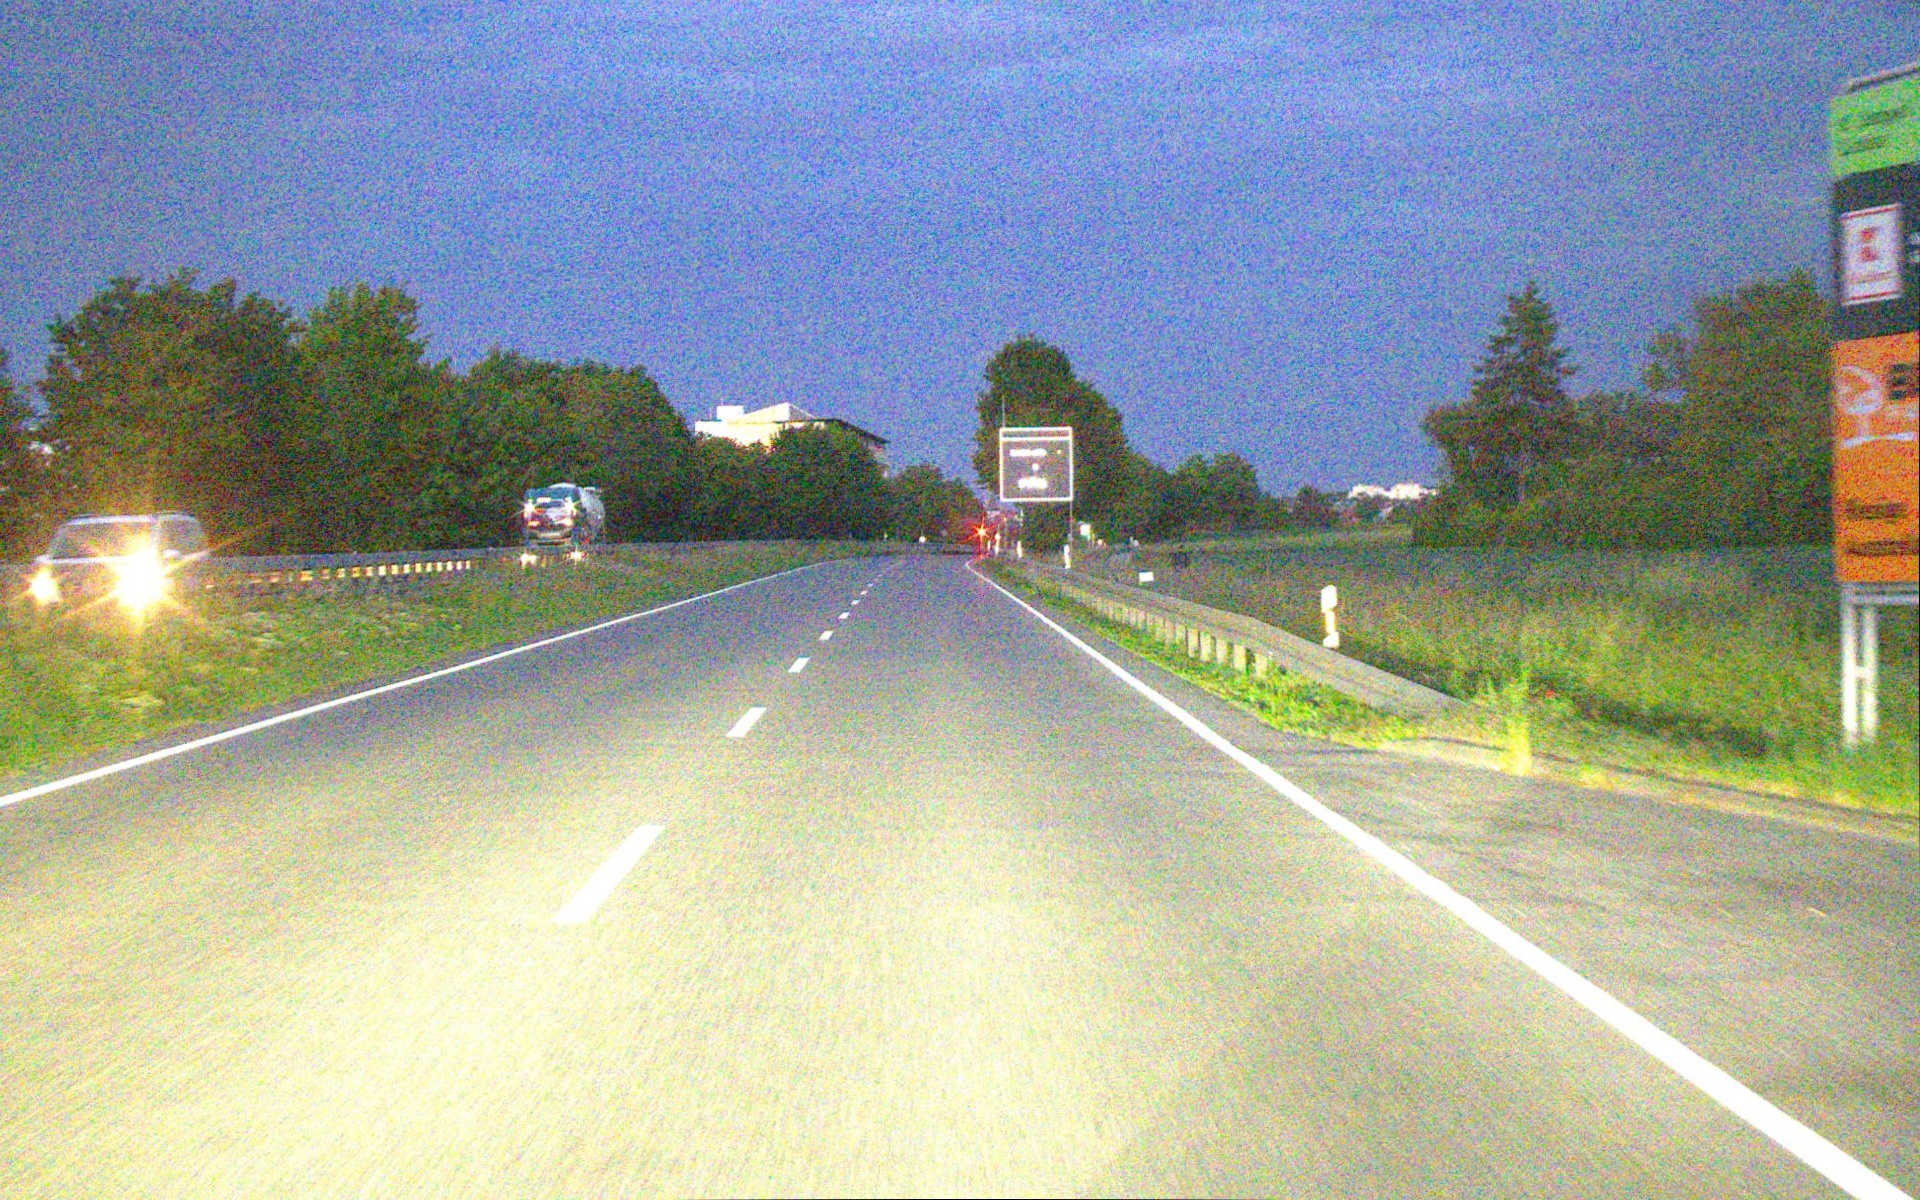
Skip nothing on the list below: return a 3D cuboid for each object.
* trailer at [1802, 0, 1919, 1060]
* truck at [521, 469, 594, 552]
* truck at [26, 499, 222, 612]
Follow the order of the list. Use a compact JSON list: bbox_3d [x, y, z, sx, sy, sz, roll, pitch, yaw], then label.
[{"bbox_3d":[4.029,-0.660,4.264,2.622,4.090,12.938,-1,1,-1],"label":"trailer"},{"bbox_3d":[-17.170,-3.797,147.067,2.219,3.433,6.715,1,1,0],"label":"truck"},{"bbox_3d":[-13.043,-0.701,53.936,2.016,1.647,4.774,1,1,-2],"label":"truck"}]
